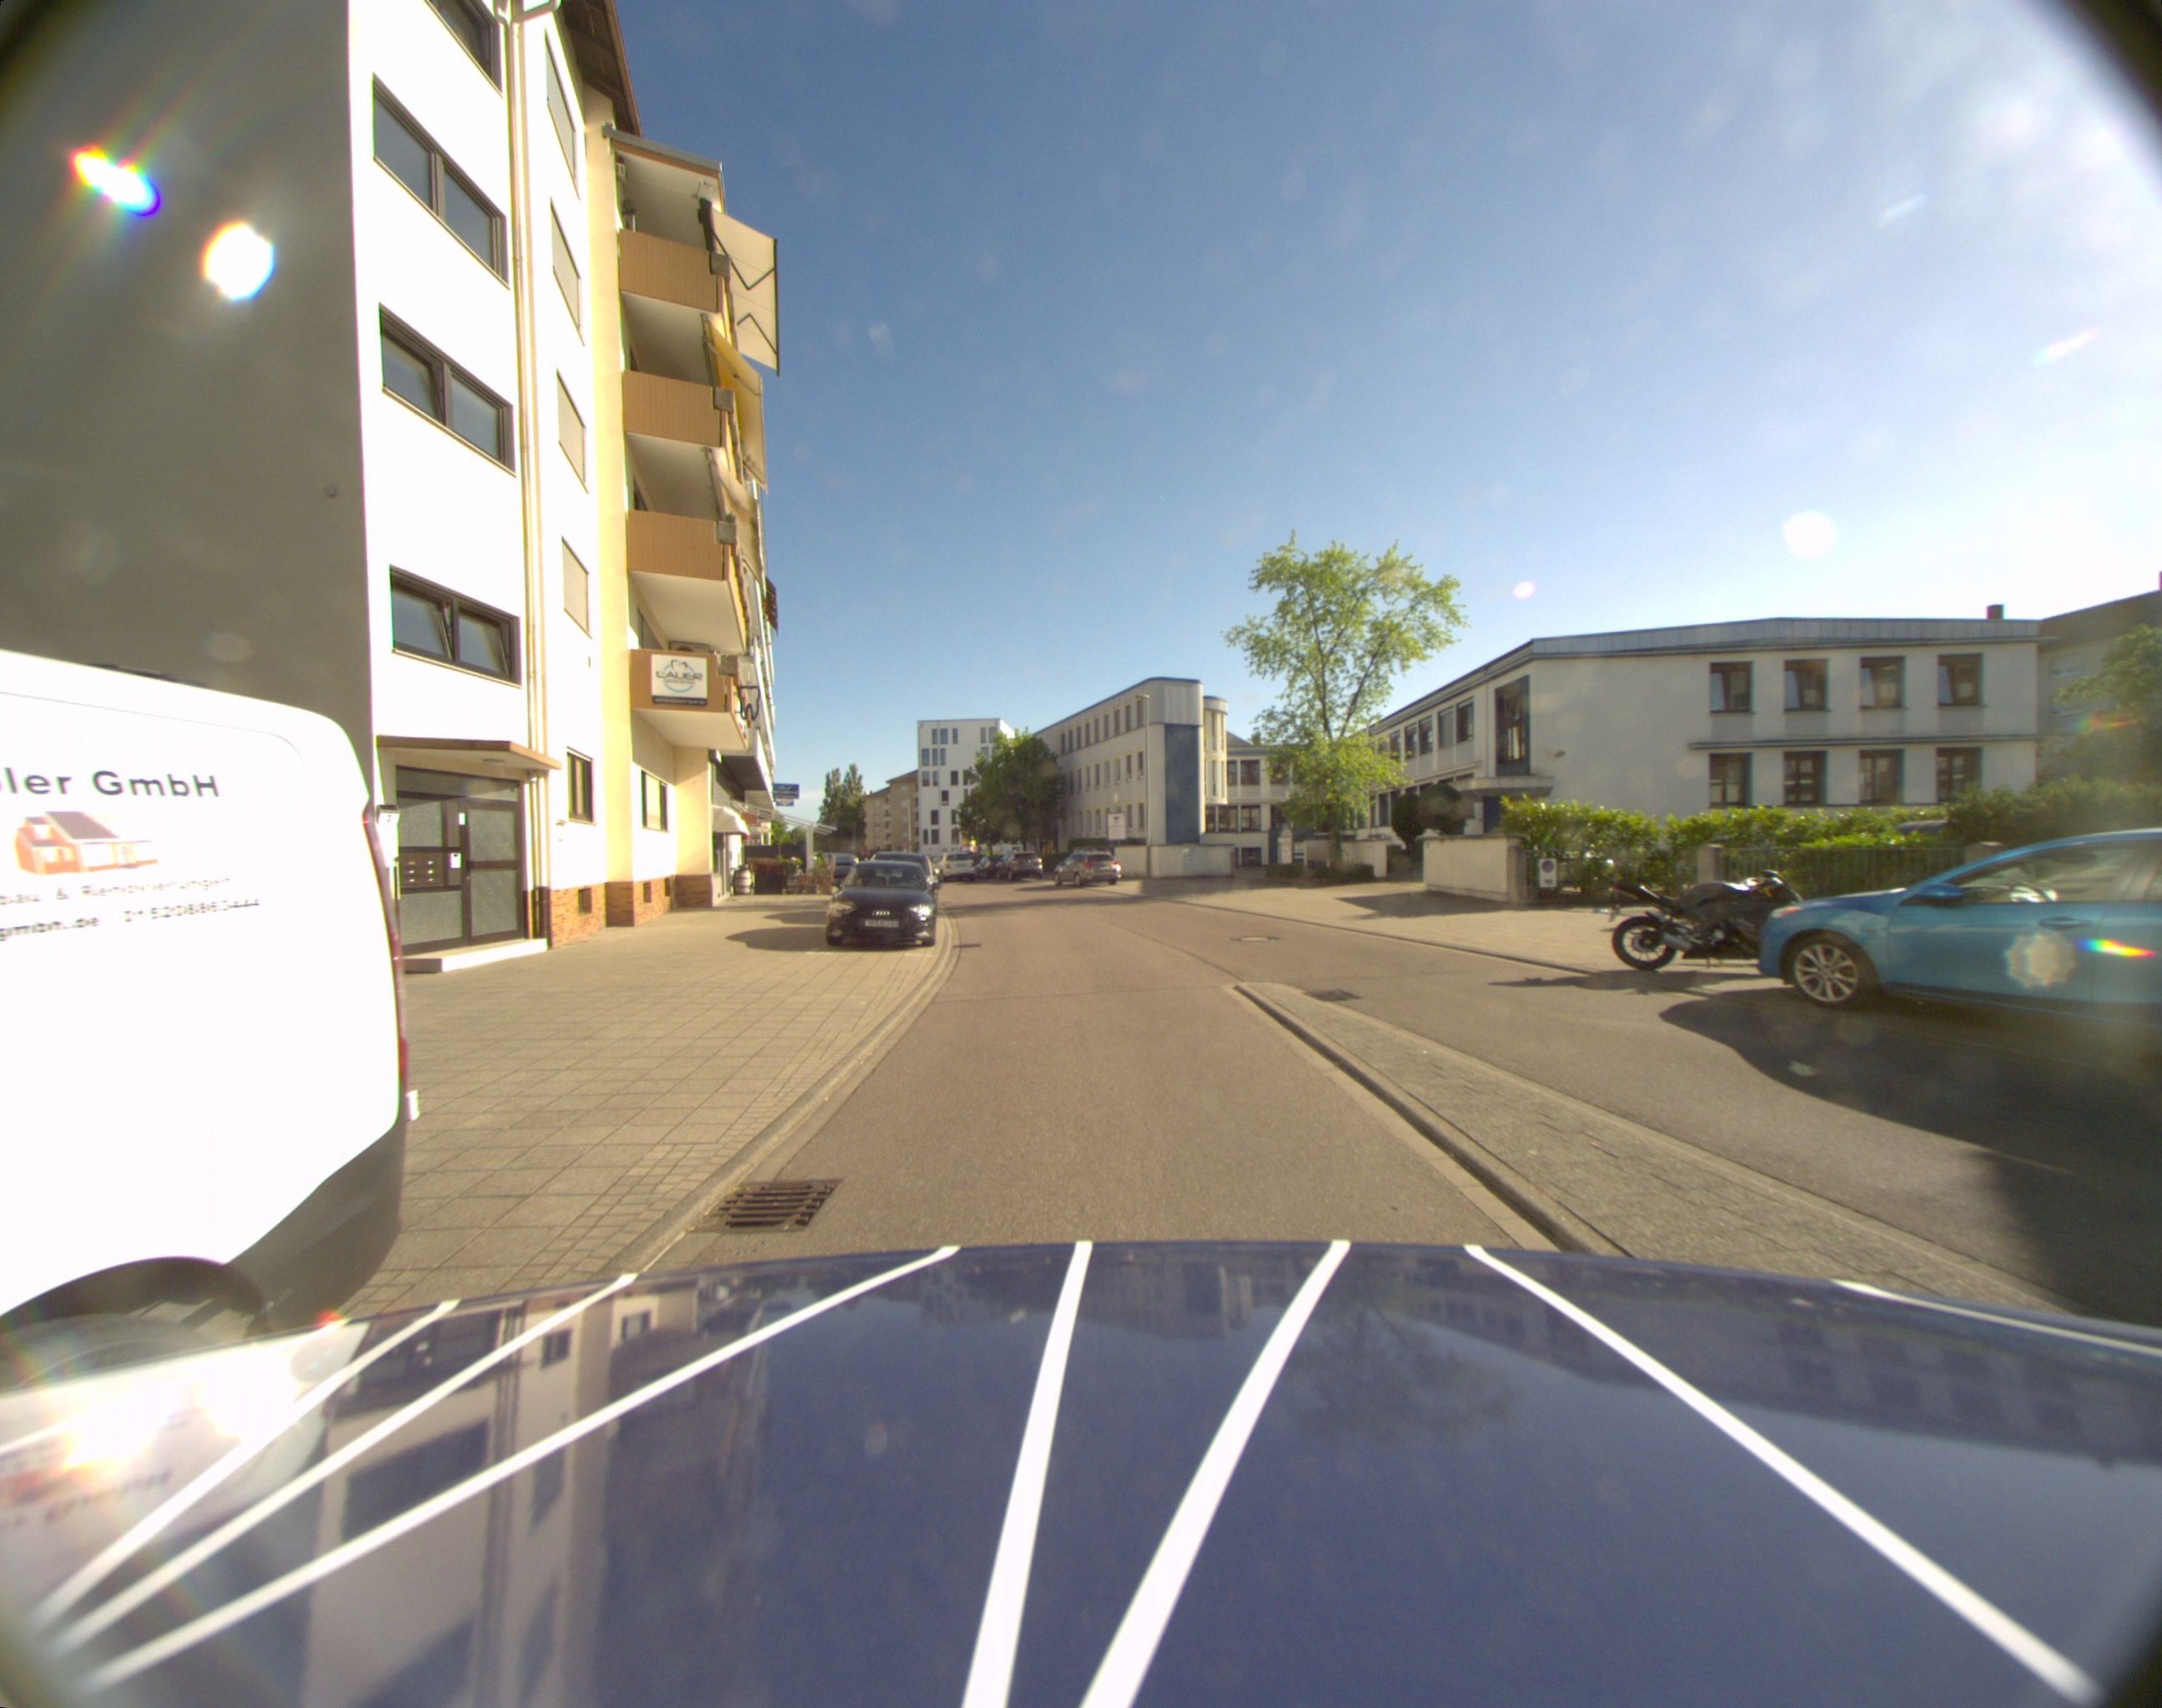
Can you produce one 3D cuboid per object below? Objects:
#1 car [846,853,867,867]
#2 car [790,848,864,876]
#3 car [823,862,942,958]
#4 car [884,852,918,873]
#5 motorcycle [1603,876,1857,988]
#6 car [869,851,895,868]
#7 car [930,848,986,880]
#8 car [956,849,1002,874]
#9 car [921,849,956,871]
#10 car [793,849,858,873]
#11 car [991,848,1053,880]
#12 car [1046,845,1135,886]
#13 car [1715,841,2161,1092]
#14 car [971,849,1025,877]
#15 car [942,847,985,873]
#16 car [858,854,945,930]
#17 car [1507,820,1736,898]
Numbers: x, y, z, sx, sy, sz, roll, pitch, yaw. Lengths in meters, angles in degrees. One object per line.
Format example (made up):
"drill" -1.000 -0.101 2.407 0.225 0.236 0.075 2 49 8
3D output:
"car" -28.906 0.747 97.737 2.141 1.726 4.826 -3 1 -21
"car" -18.337 0.573 55.127 2.134 1.726 4.843 -2 1 28
"car" -3.509 0.904 13.843 1.759 1.386 3.995 2 0 -12
"car" -15.888 0.704 66.904 2.141 1.726 4.826 -3 1 -21
"motorcycle" 6.855 0.817 8.144 1.959 1.089 0.591 -2 0 22
"car" -21.536 0.589 81.994 2.141 1.726 4.826 -3 1 -21
"car" -7.472 0.580 45.756 2.141 1.726 4.826 -3 1 -23
"car" -7.237 0.515 53.327 2.141 1.604 4.453 -3 1 -21
"car" -12.685 0.503 67.307 2.141 1.800 4.826 -3 1 -21
"car" -20.867 0.561 62.253 2.134 1.726 4.843 -2 1 28
"car" -3.404 0.519 43.011 2.141 1.604 4.826 -3 1 -21
"car" 0.324 0.468 33.909 2.141 1.604 4.826 -3 1 -23
"car" 7.214 0.652 5.121 1.885 1.426 4.411 -2 1 -7
"car" -5.305 0.518 48.083 2.141 1.604 4.826 -3 1 -21
"car" -9.008 0.417 57.994 2.141 1.800 4.826 -3 1 -21
"car" -4.303 0.837 18.713 1.759 1.604 3.996 2 0 -10
"car" 12.656 0.098 18.014 3.996 1.706 2.000 0 1 2
